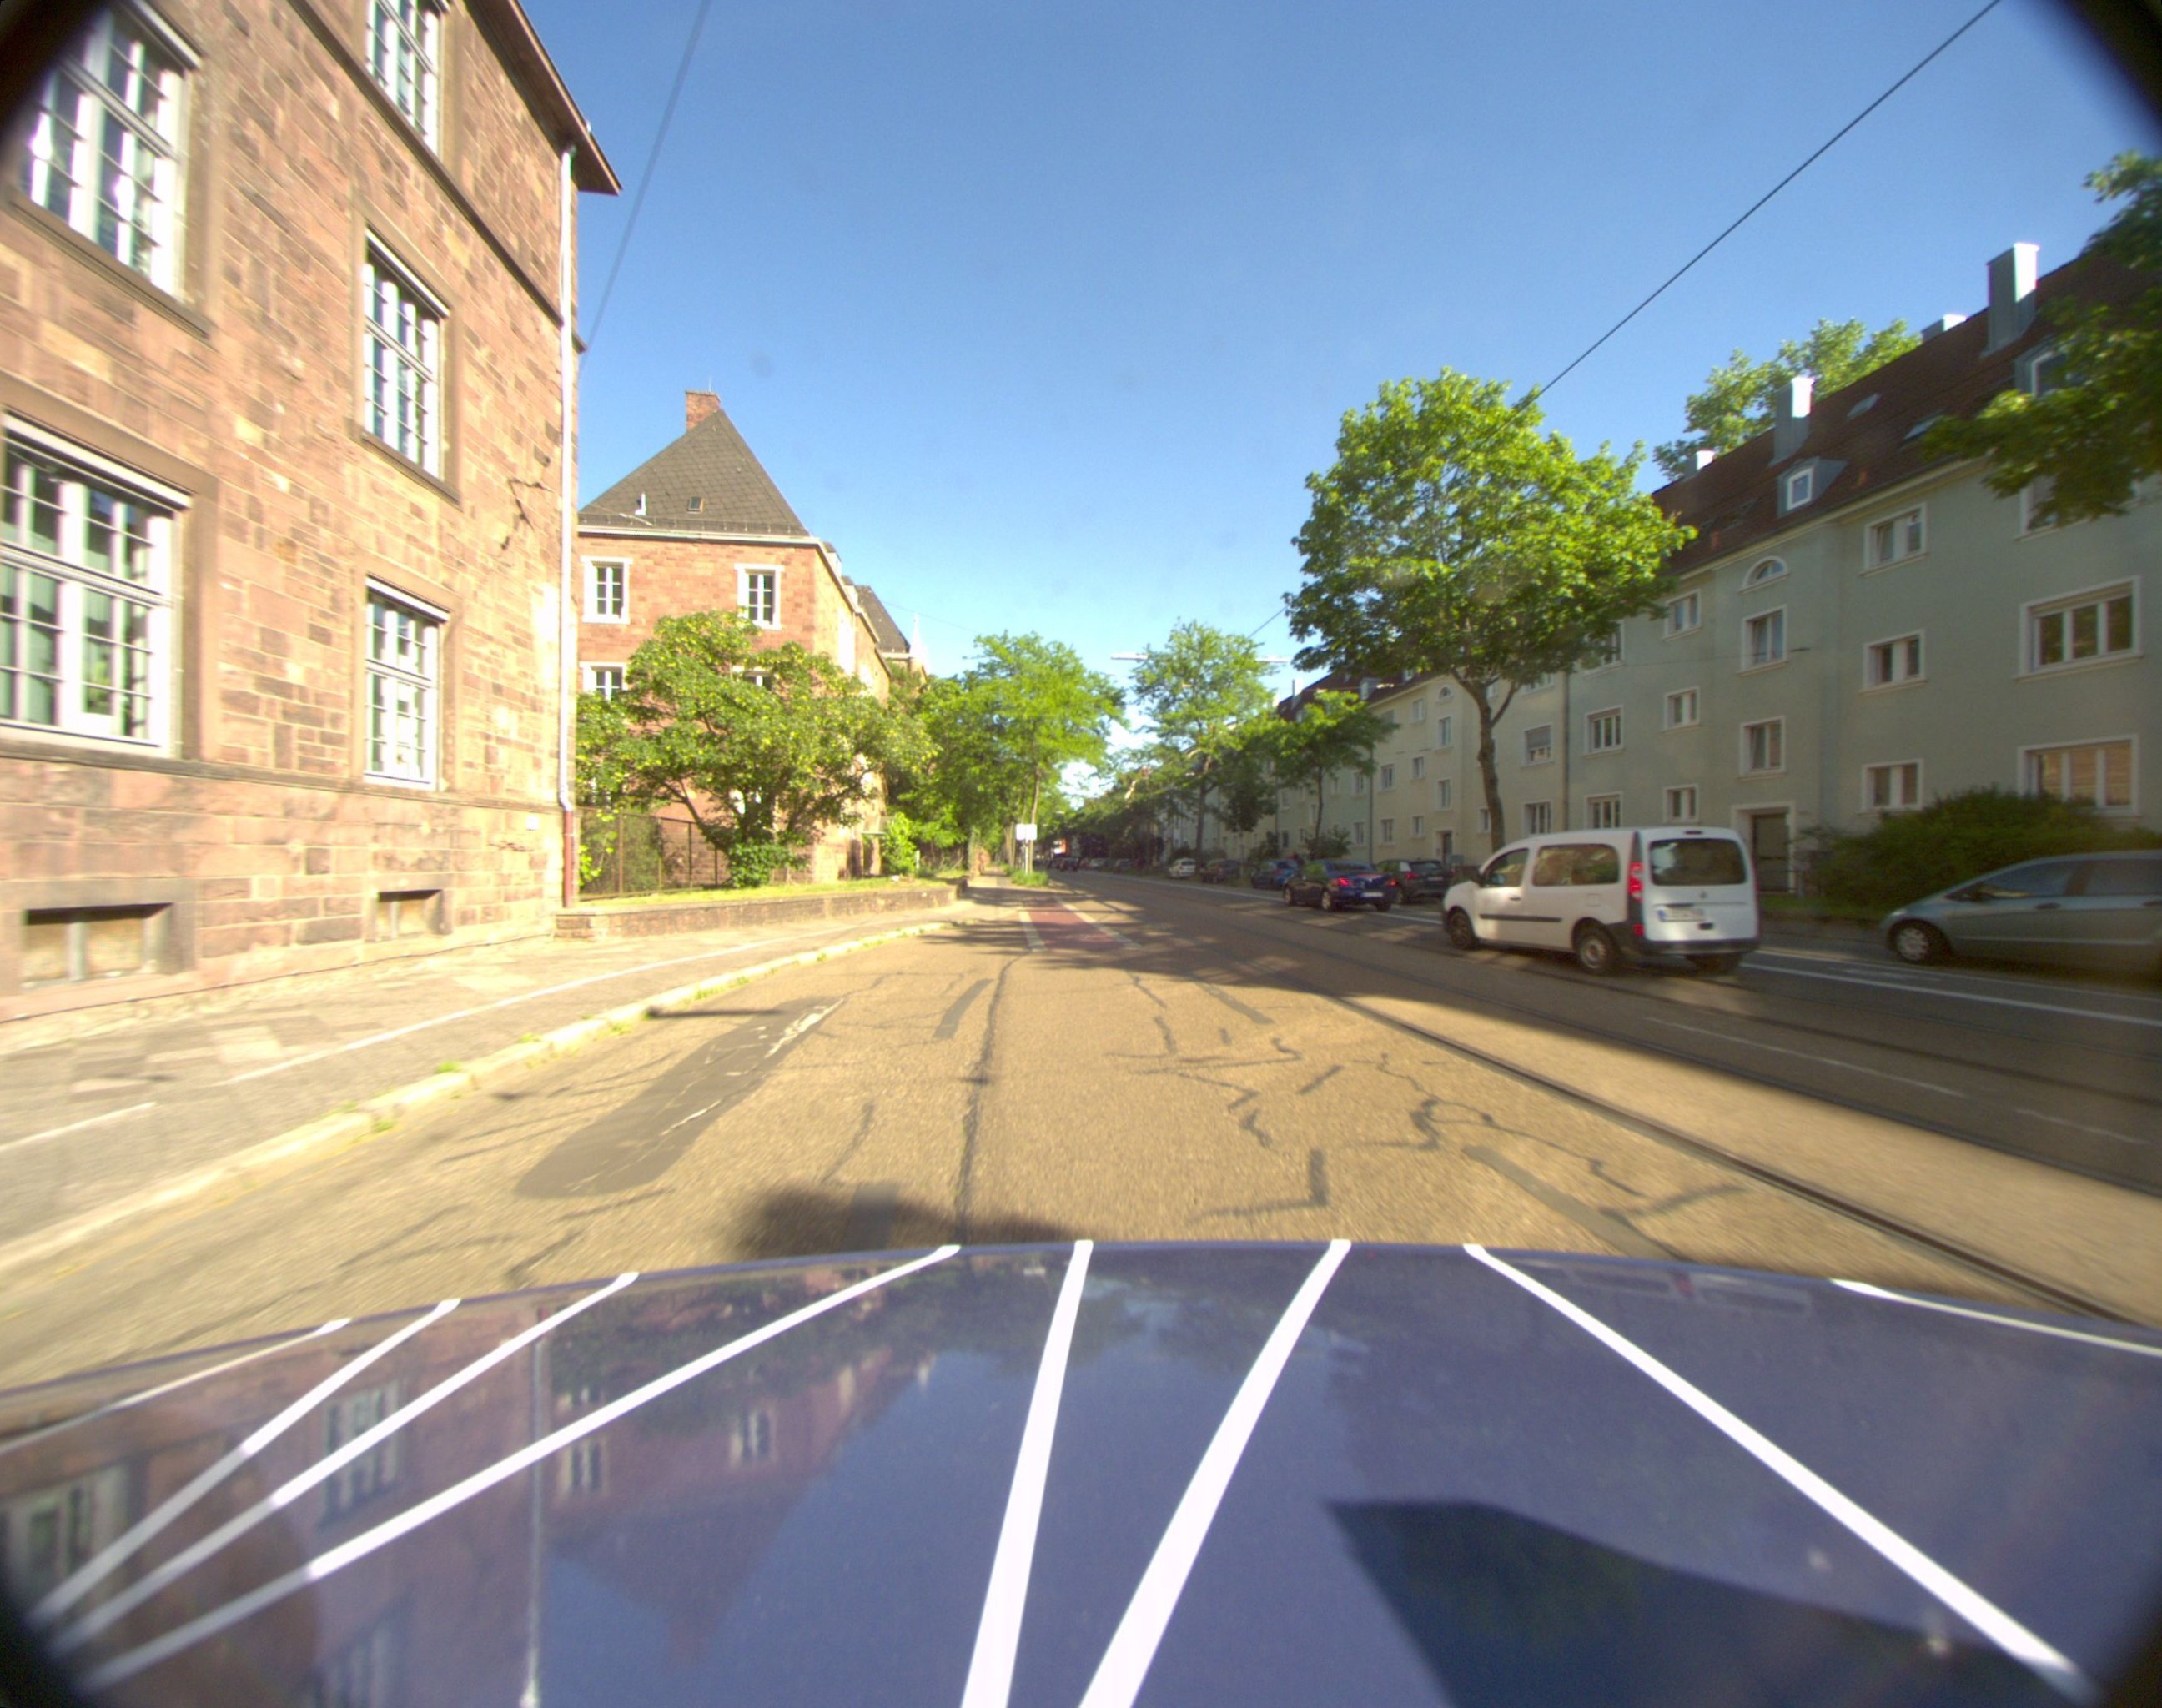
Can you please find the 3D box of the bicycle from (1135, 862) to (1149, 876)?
[{"bbox_3d":[5.094,1.251,63.519,0.696,1.170,1.912,3,0,-6],"label":"bicycle"}]

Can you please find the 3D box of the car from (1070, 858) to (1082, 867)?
[{"bbox_3d":[-0.893,1.492,135.462,1.782,1.532,4.483,0,0,-6],"label":"car"}]

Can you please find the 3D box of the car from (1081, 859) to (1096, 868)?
[{"bbox_3d":[1.114,1.457,116.379,1.711,1.398,4.331,0,0,-7],"label":"car"}]

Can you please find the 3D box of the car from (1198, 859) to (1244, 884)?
[{"bbox_3d":[8.538,1.041,46.620,1.692,1.476,3.757,-2,0,-7],"label":"car"}]

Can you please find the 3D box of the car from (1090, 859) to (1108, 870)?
[{"bbox_3d":[2.484,1.394,105.316,1.823,1.502,4.368,0,0,-7],"label":"car"}]

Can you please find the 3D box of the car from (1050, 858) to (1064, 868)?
[{"bbox_3d":[-3.470,1.262,109.082,1.705,1.431,4.069,1,0,-7],"label":"car"}]

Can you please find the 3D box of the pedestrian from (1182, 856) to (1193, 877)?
[{"bbox_3d":[9.115,1.083,64.861,0.694,1.791,0.813,1,0,-6],"label":"pedestrian"}]

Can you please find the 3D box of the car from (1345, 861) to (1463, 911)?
[{"bbox_3d":[10.885,1.031,25.998,1.751,1.481,4.321,-2,0,-7],"label":"car"}]

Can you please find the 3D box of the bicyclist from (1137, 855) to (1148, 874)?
[{"bbox_3d":[5.130,0.868,63.494,0.712,1.597,0.864,3,0,-6],"label":"bicyclist"}]

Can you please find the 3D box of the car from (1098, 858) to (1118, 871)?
[{"bbox_3d":[3.363,1.305,94.623,1.763,1.502,4.436,0,0,-7],"label":"car"}]

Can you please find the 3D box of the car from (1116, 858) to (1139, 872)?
[{"bbox_3d":[4.947,1.152,81.494,1.823,1.476,4.204,0,0,-6],"label":"car"}]

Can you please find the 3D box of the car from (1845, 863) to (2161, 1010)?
[{"bbox_3d":[12.680,0.936,9.562,1.751,1.560,4.066,-2,0,-9],"label":"car"}]

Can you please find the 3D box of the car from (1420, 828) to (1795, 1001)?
[{"bbox_3d":[6.807,0.680,10.574,1.815,1.877,4.438,1,0,-6],"label":"car"}]

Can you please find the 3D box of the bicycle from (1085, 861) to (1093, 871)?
[{"bbox_3d":[1.028,1.505,97.678,0.628,1.170,1.912,3,0,-6],"label":"bicycle"}]

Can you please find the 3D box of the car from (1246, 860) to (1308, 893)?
[{"bbox_3d":[9.617,1.068,37.540,1.565,1.448,3.928,-2,0,-8],"label":"car"}]

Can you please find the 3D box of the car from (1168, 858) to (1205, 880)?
[{"bbox_3d":[7.715,1.066,55.960,1.708,1.476,4.076,-2,0,-6],"label":"car"}]

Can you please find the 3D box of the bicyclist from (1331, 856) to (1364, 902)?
[{"bbox_3d":[8.786,0.819,25.075,0.559,1.448,0.869,4,0,-9],"label":"bicyclist"}]

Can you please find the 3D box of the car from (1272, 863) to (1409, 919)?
[{"bbox_3d":[7.121,0.955,21.363,1.816,1.379,4.437,1,0,-8],"label":"car"}]

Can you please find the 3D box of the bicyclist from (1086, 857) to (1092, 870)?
[{"bbox_3d":[1.046,1.192,97.745,0.628,1.629,0.939,3,0,-6],"label":"bicyclist"}]

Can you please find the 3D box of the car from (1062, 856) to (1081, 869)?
[{"bbox_3d":[-1.099,0.945,86.414,1.705,1.462,4.069,1,0,-7],"label":"car"}]
